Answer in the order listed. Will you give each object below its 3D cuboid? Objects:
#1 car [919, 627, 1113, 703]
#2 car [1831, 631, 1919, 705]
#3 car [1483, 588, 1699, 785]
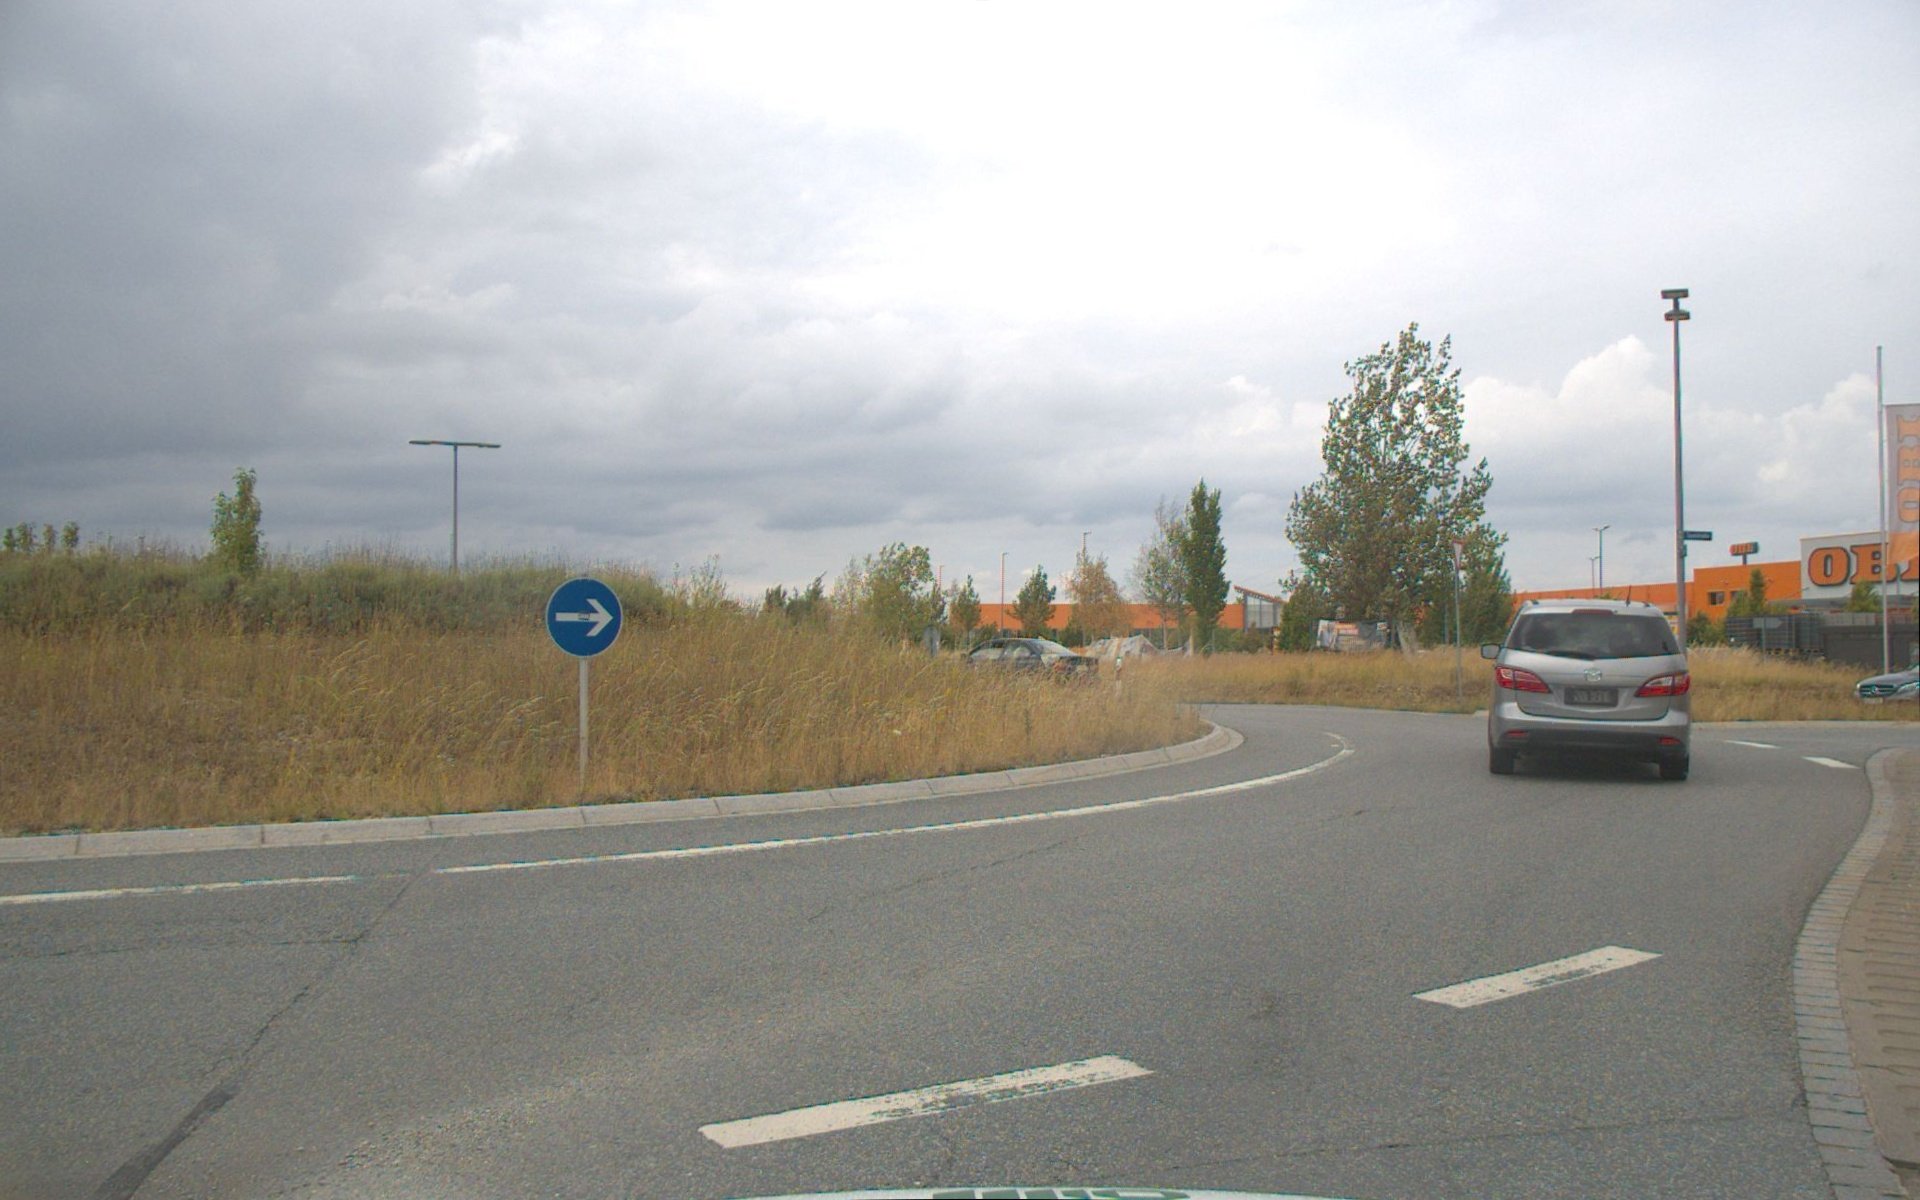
[{"bbox_3d":[1.147,1.339,35.157,3.925,1.428,1.734,1,0,41],"label":"car"},{"bbox_3d":[20.343,1.397,33.396,4.582,1.428,1.926,2,-2,-6],"label":"car"},{"bbox_3d":[6.050,0.739,16.094,1.702,1.626,3.999,1,0,19],"label":"car"}]
